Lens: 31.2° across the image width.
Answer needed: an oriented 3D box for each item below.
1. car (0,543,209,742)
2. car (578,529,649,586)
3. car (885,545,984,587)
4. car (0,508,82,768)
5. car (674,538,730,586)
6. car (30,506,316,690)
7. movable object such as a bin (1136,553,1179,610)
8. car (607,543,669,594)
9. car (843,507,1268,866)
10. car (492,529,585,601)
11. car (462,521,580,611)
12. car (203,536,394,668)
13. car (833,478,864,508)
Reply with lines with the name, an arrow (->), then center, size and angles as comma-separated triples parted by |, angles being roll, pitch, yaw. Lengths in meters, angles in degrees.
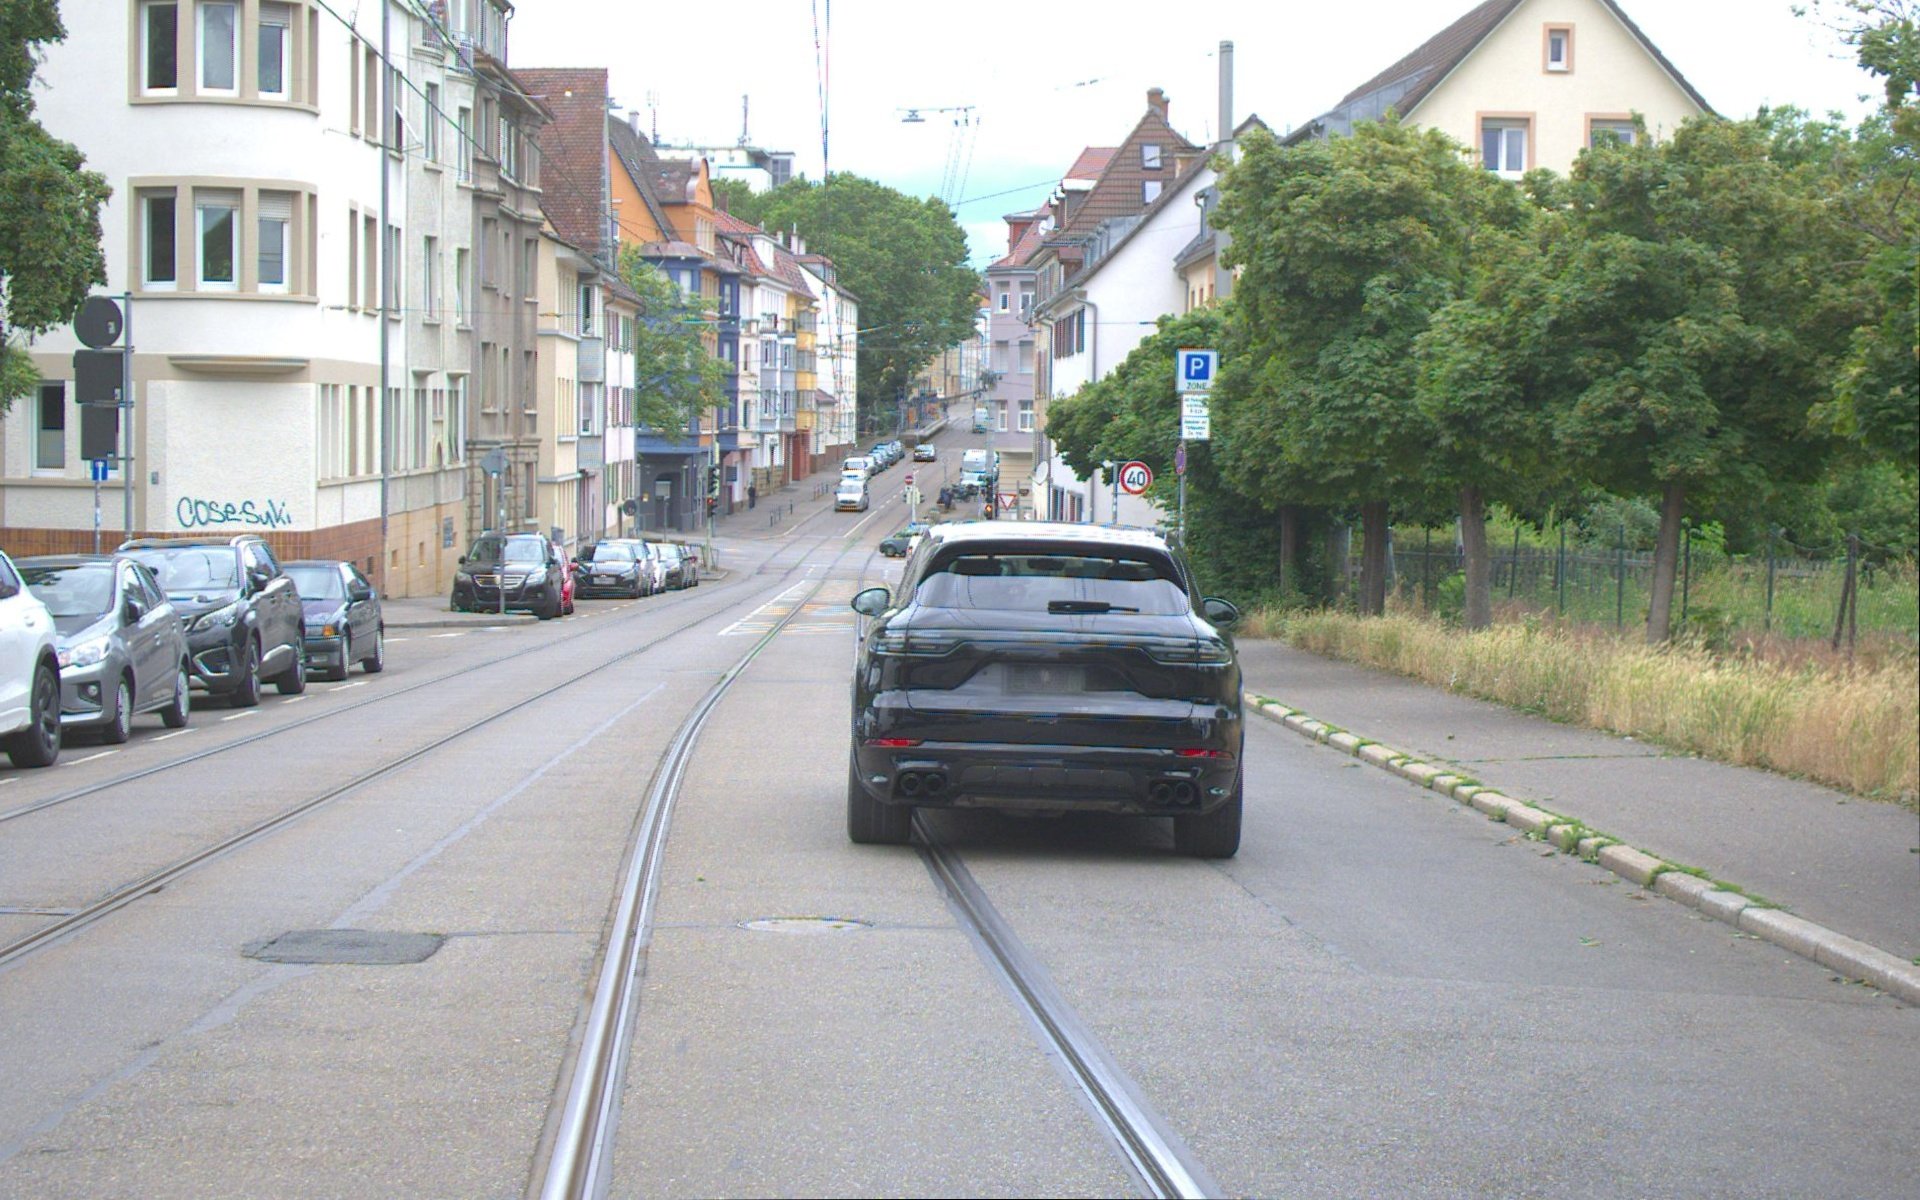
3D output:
car -> -7.316, 0.315, 27.912 | 1.738, 1.504, 3.870 | 0, 0, -3
car -> -9.063, -1.099, 90.078 | 1.620, 1.458, 4.033 | 0, 0, -3
car -> -1.126, -1.480, 151.366 | 3.829, 1.763, 1.998 | 1, 1, 22
car -> -7.193, 0.238, 22.341 | 1.968, 1.681, 4.633 | 0, 0, -3
car -> -8.204, -1.205, 109.509 | 1.620, 1.468, 4.556 | 0, 0, -3
car -> -7.655, -0.020, 33.835 | 1.968, 1.681, 4.445 | 0, 0, -3
movable object such as a bin -> 4.245, -0.402, 74.018 | 0.792, 1.214, 0.789 | 1, 1, -5
car -> -9.430, -0.912, 100.797 | 1.620, 1.458, 3.685 | 0, 0, -3
car -> 0.400, 0.390, 18.371 | 1.993, 1.670, 4.000 | 1, 1, -2
car -> -8.735, -0.707, 71.423 | 1.620, 1.458, 3.746 | 0, 0, -3
car -> -8.335, -0.632, 65.578 | 1.867, 1.640, 4.402 | 0, 0, -3
car -> -7.741, 0.021, 40.510 | 1.620, 1.472, 4.157 | 0, 0, -3
car -> -6.875, -6.584, 211.937 | 1.751, 1.754, 4.254 | 1, 1, -1
